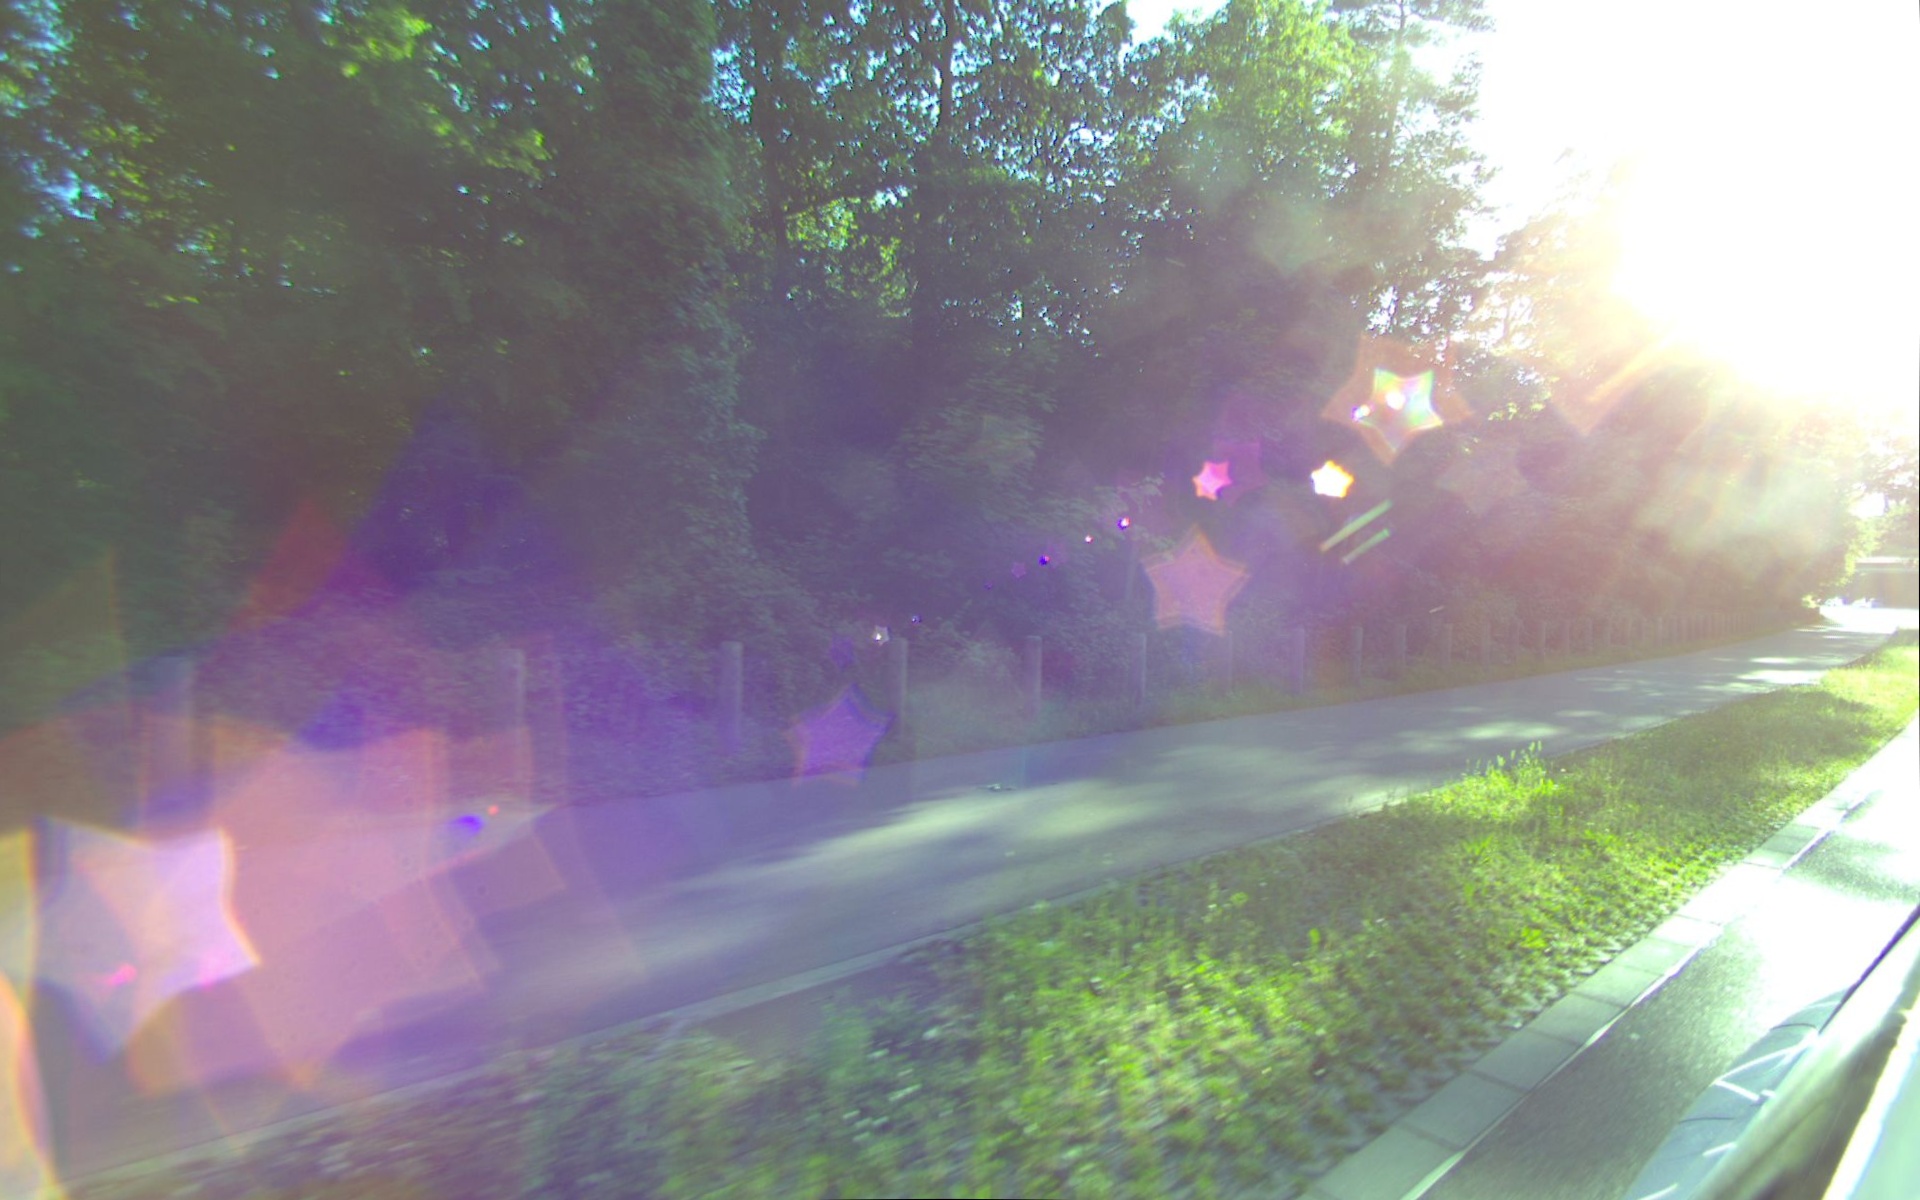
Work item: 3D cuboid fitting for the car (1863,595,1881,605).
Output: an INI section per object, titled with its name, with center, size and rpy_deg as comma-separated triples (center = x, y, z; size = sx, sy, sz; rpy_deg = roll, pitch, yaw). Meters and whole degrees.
[car]
center = 154.033, -0.019, 170.925
size = 1.816, 1.705, 3.948
rpy_deg = 2, 1, 36
